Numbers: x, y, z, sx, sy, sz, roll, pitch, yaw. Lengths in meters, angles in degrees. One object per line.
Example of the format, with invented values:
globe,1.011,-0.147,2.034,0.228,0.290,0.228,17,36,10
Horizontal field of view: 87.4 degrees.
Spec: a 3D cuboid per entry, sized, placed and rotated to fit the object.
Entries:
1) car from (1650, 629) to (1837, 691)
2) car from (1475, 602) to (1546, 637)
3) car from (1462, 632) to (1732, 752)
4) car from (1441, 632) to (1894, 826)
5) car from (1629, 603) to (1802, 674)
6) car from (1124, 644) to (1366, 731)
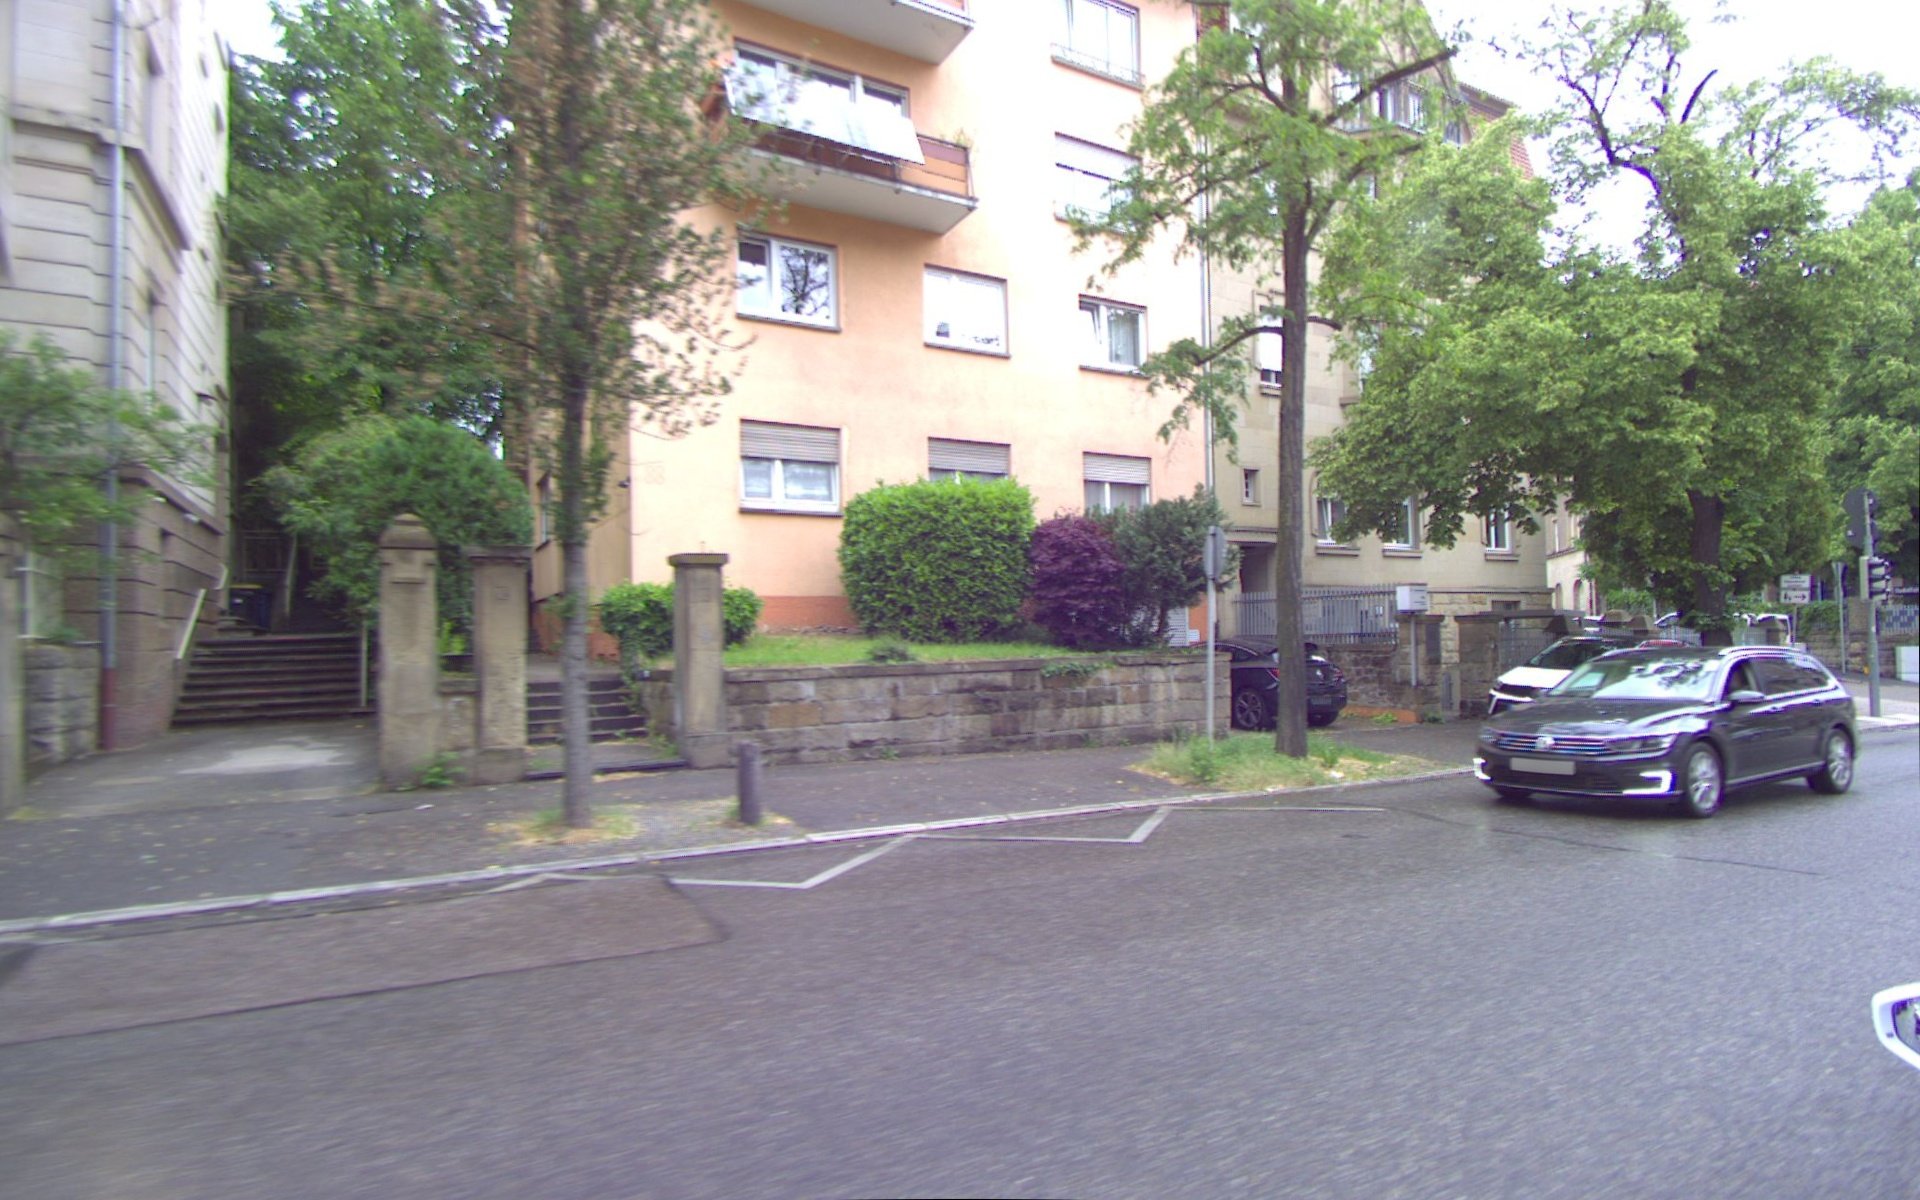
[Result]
car,22.651,1.702,29.214,1.801,1.427,3.851,4,0,-24
car,27.413,0.936,50.147,1.993,1.555,4.445,4,1,15
car,9.877,1.375,15.511,4.251,1.580,1.733,3,-1,-30
car,7.042,1.117,9.924,4.491,1.537,1.809,1,-3,-28
car,27.086,1.306,36.239,1.992,2.076,4.662,1,3,-15
car,4.882,1.448,17.735,1.816,1.344,3.968,1,-3,-31
